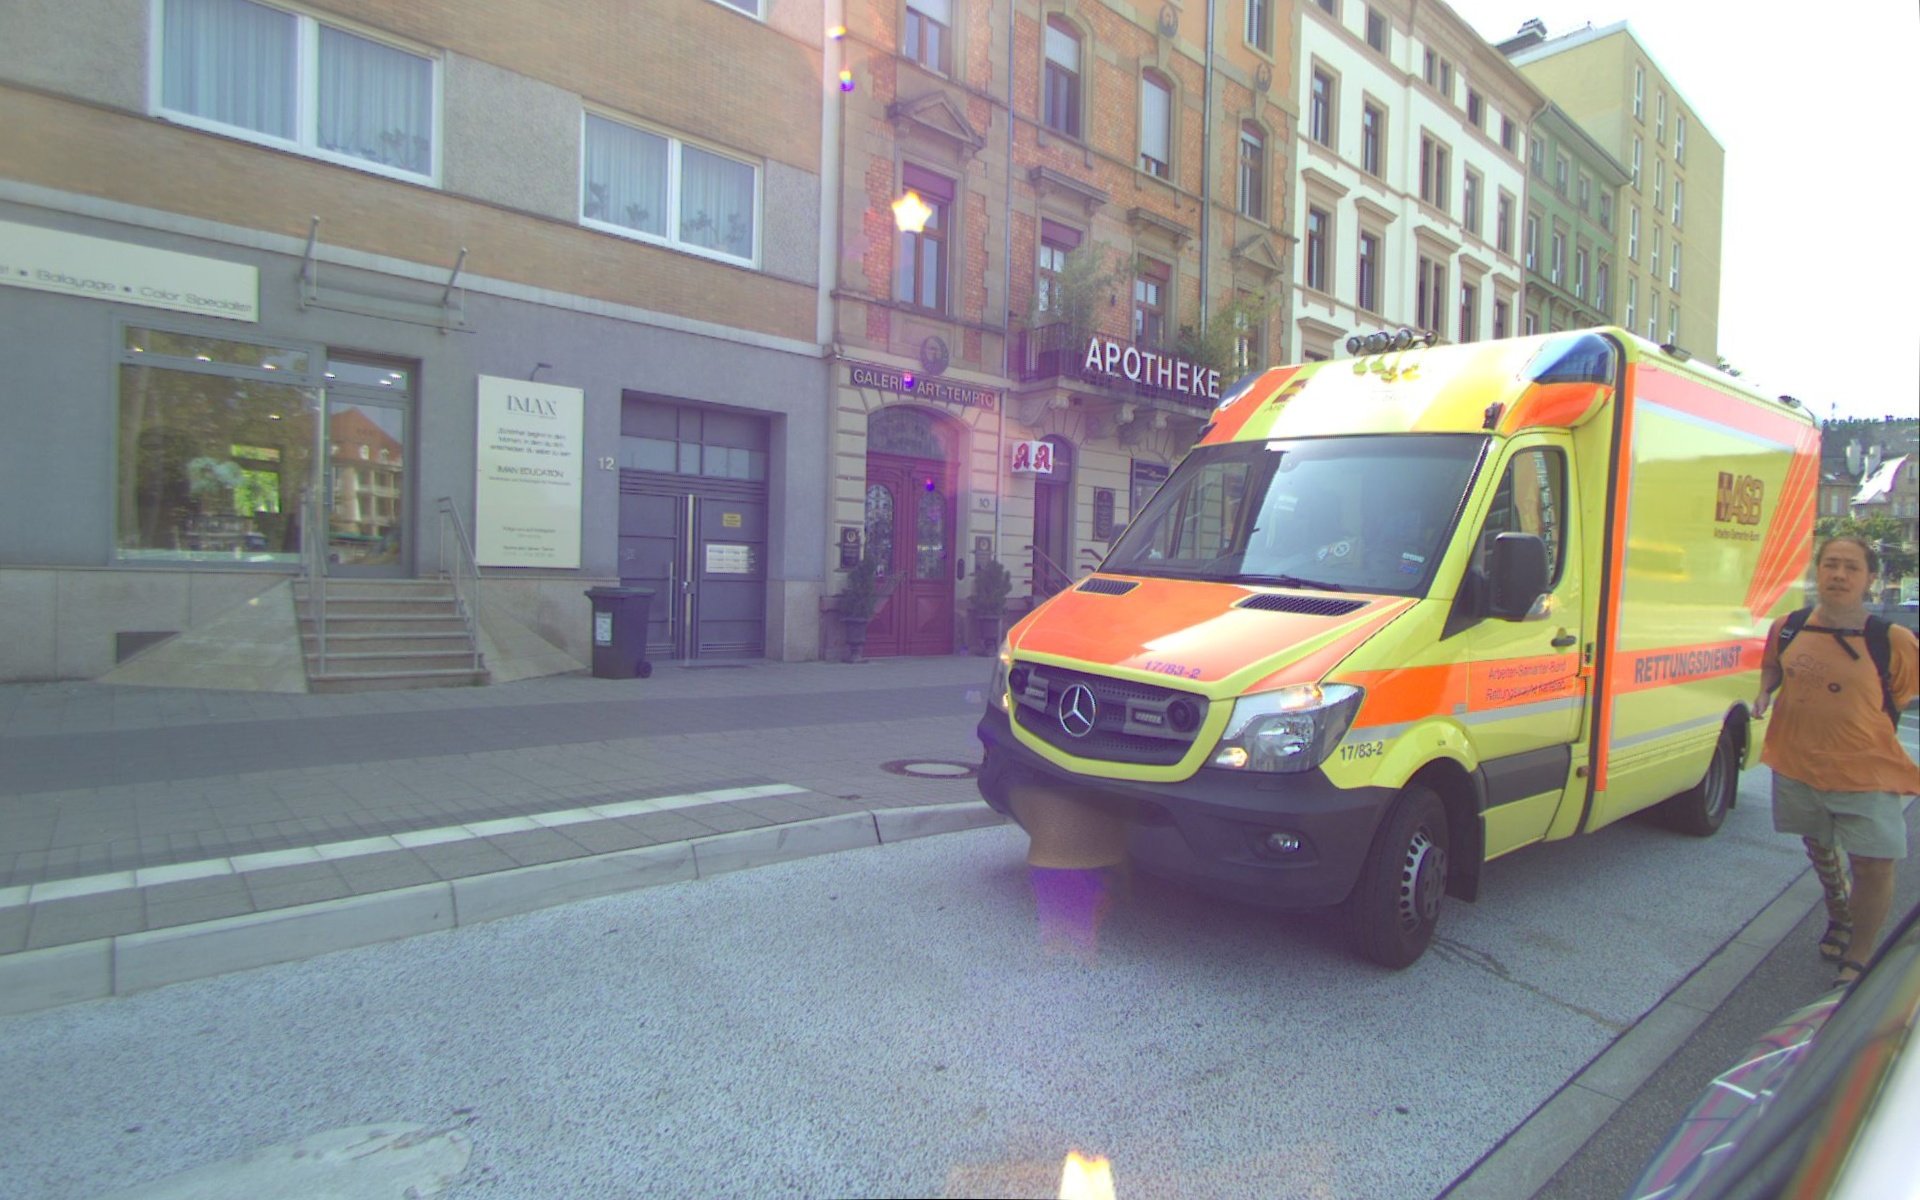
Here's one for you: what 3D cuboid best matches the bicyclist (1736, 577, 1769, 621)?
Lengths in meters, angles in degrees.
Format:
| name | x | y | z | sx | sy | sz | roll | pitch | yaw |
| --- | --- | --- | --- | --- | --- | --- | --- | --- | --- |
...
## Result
| name | x | y | z | sx | sy | sz | roll | pitch | yaw |
| --- | --- | --- | --- | --- | --- | --- | --- | --- | --- |
| bicyclist | 29.335 | -0.047 | 37.440 | 1.083 | 1.606 | 0.720 | 1 | 1 | -40 |

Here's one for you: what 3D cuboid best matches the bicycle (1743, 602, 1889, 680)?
| name | x | y | z | sx | sy | sz | roll | pitch | yaw |
| --- | --- | --- | --- | --- | --- | --- | --- | --- | --- |
| bicycle | 14.464 | 0.662 | 17.144 | 0.427 | 1.219 | 1.841 | 1 | 0 | -40 |

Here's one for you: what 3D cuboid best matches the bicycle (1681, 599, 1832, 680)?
| name | x | y | z | sx | sy | sz | roll | pitch | yaw |
| --- | --- | --- | --- | --- | --- | --- | --- | --- | --- |
| bicycle | 12.836 | 0.604 | 16.358 | 0.539 | 1.219 | 1.841 | 0 | 0 | -40 |

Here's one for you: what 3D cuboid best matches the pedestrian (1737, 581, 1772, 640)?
| name | x | y | z | sx | sy | sz | roll | pitch | yaw |
| --- | --- | --- | --- | --- | --- | --- | --- | --- | --- |
| pedestrian | 24.912 | 0.324 | 31.742 | 0.783 | 1.780 | 0.688 | 0 | 2 | -43 |

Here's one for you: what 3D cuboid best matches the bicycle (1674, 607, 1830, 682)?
| name | x | y | z | sx | sy | sz | roll | pitch | yaw |
| --- | --- | --- | --- | --- | --- | --- | --- | --- | --- |
| bicycle | 12.419 | 0.662 | 15.909 | 0.646 | 1.070 | 1.841 | 0 | 0 | -40 |

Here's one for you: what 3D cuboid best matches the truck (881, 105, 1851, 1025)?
| name | x | y | z | sx | sy | sz | roll | pitch | yaw |
| --- | --- | --- | --- | --- | --- | --- | --- | --- | --- |
| truck | 2.820 | -0.170 | 5.927 | 6.222 | 2.803 | 2.336 | 0 | 4 | -38 |

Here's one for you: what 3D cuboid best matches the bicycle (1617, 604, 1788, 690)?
| name | x | y | z | sx | sy | sz | roll | pitch | yaw |
| --- | --- | --- | --- | --- | --- | --- | --- | --- | --- |
| bicycle | 10.246 | 0.616 | 14.023 | 0.686 | 1.089 | 1.806 | 0 | 0 | -41 |

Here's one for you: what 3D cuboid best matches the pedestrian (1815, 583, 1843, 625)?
| name | x | y | z | sx | sy | sz | roll | pitch | yaw |
| --- | --- | --- | --- | --- | --- | --- | --- | --- | --- |
| pedestrian | 34.677 | 0.160 | 40.366 | 0.782 | 1.648 | 0.646 | 1 | 2 | -38 |

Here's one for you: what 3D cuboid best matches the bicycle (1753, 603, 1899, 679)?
| name | x | y | z | sx | sy | sz | roll | pitch | yaw |
| --- | --- | --- | --- | --- | --- | --- | --- | --- | --- |
| bicycle | 14.940 | 0.681 | 17.495 | 0.626 | 1.219 | 1.841 | 0 | 0 | -40 |

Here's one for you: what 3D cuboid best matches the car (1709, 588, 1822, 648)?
| name | x | y | z | sx | sy | sz | roll | pitch | yaw |
| --- | --- | --- | --- | --- | --- | --- | --- | --- | --- |
| car | 22.505 | 0.459 | 28.220 | 3.864 | 1.444 | 1.666 | 0 | 4 | -40 |

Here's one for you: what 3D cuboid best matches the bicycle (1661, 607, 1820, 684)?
| name | x | y | z | sx | sy | sz | roll | pitch | yaw |
| --- | --- | --- | --- | --- | --- | --- | --- | --- | --- |
| bicycle | 11.898 | 0.659 | 15.474 | 0.646 | 1.074 | 1.841 | 0 | 0 | -40 |

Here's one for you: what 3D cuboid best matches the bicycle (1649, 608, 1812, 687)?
| name | x | y | z | sx | sy | sz | roll | pitch | yaw |
| --- | --- | --- | --- | --- | --- | --- | --- | --- | --- |
| bicycle | 11.407 | 0.663 | 15.040 | 0.646 | 1.066 | 1.841 | 0 | 0 | -40 |

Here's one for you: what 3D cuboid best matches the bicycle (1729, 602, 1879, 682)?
| name | x | y | z | sx | sy | sz | roll | pitch | yaw |
| --- | --- | --- | --- | --- | --- | --- | --- | --- | --- |
| bicycle | 13.756 | 0.651 | 16.551 | 0.427 | 1.219 | 1.841 | 1 | 0 | -40 |

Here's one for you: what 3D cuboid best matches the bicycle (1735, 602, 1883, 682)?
| name | x | y | z | sx | sy | sz | roll | pitch | yaw |
| --- | --- | --- | --- | --- | --- | --- | --- | --- | --- |
| bicycle | 14.099 | 0.668 | 16.848 | 0.427 | 1.235 | 1.841 | 1 | 0 | -40 |

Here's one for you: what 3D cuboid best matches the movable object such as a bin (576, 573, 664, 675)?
| name | x | y | z | sx | sy | sz | roll | pitch | yaw |
| --- | --- | --- | --- | --- | --- | --- | --- | --- | --- |
| movable object such as a bin | -3.995 | 0.264 | 11.908 | 0.640 | 1.118 | 0.723 | 3 | 2 | 24 |

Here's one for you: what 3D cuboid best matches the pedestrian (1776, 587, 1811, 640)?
| name | x | y | z | sx | sy | sz | roll | pitch | yaw |
| --- | --- | --- | --- | --- | --- | --- | --- | --- | --- |
| pedestrian | 26.864 | 0.421 | 32.609 | 0.782 | 1.648 | 0.645 | 1 | 2 | -39 |

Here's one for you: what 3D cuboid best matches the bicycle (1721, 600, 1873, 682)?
| name | x | y | z | sx | sy | sz | roll | pitch | yaw |
| --- | --- | --- | --- | --- | --- | --- | --- | --- | --- |
| bicycle | 13.423 | 0.627 | 16.282 | 0.427 | 1.219 | 1.841 | 1 | 0 | -40 |

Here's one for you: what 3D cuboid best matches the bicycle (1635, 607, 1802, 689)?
| name | x | y | z | sx | sy | sz | roll | pitch | yaw |
| --- | --- | --- | --- | --- | --- | --- | --- | --- | --- |
| bicycle | 10.891 | 0.650 | 14.589 | 0.646 | 1.074 | 1.841 | 0 | 0 | -40 |

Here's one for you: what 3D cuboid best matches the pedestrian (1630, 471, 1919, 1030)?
| name | x | y | z | sx | sy | sz | roll | pitch | yaw |
| --- | --- | --- | --- | --- | --- | --- | --- | --- | --- |
| pedestrian | 3.359 | 0.471 | 3.818 | 1.215 | 1.763 | 0.968 | 0 | 0 | -31 |

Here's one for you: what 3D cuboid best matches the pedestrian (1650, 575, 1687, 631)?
| name | x | y | z | sx | sy | sz | roll | pitch | yaw |
| --- | --- | --- | --- | --- | --- | --- | --- | --- | --- |
| pedestrian | 23.277 | 0.088 | 33.238 | 0.867 | 1.755 | 0.771 | 0 | 2 | -44 |
